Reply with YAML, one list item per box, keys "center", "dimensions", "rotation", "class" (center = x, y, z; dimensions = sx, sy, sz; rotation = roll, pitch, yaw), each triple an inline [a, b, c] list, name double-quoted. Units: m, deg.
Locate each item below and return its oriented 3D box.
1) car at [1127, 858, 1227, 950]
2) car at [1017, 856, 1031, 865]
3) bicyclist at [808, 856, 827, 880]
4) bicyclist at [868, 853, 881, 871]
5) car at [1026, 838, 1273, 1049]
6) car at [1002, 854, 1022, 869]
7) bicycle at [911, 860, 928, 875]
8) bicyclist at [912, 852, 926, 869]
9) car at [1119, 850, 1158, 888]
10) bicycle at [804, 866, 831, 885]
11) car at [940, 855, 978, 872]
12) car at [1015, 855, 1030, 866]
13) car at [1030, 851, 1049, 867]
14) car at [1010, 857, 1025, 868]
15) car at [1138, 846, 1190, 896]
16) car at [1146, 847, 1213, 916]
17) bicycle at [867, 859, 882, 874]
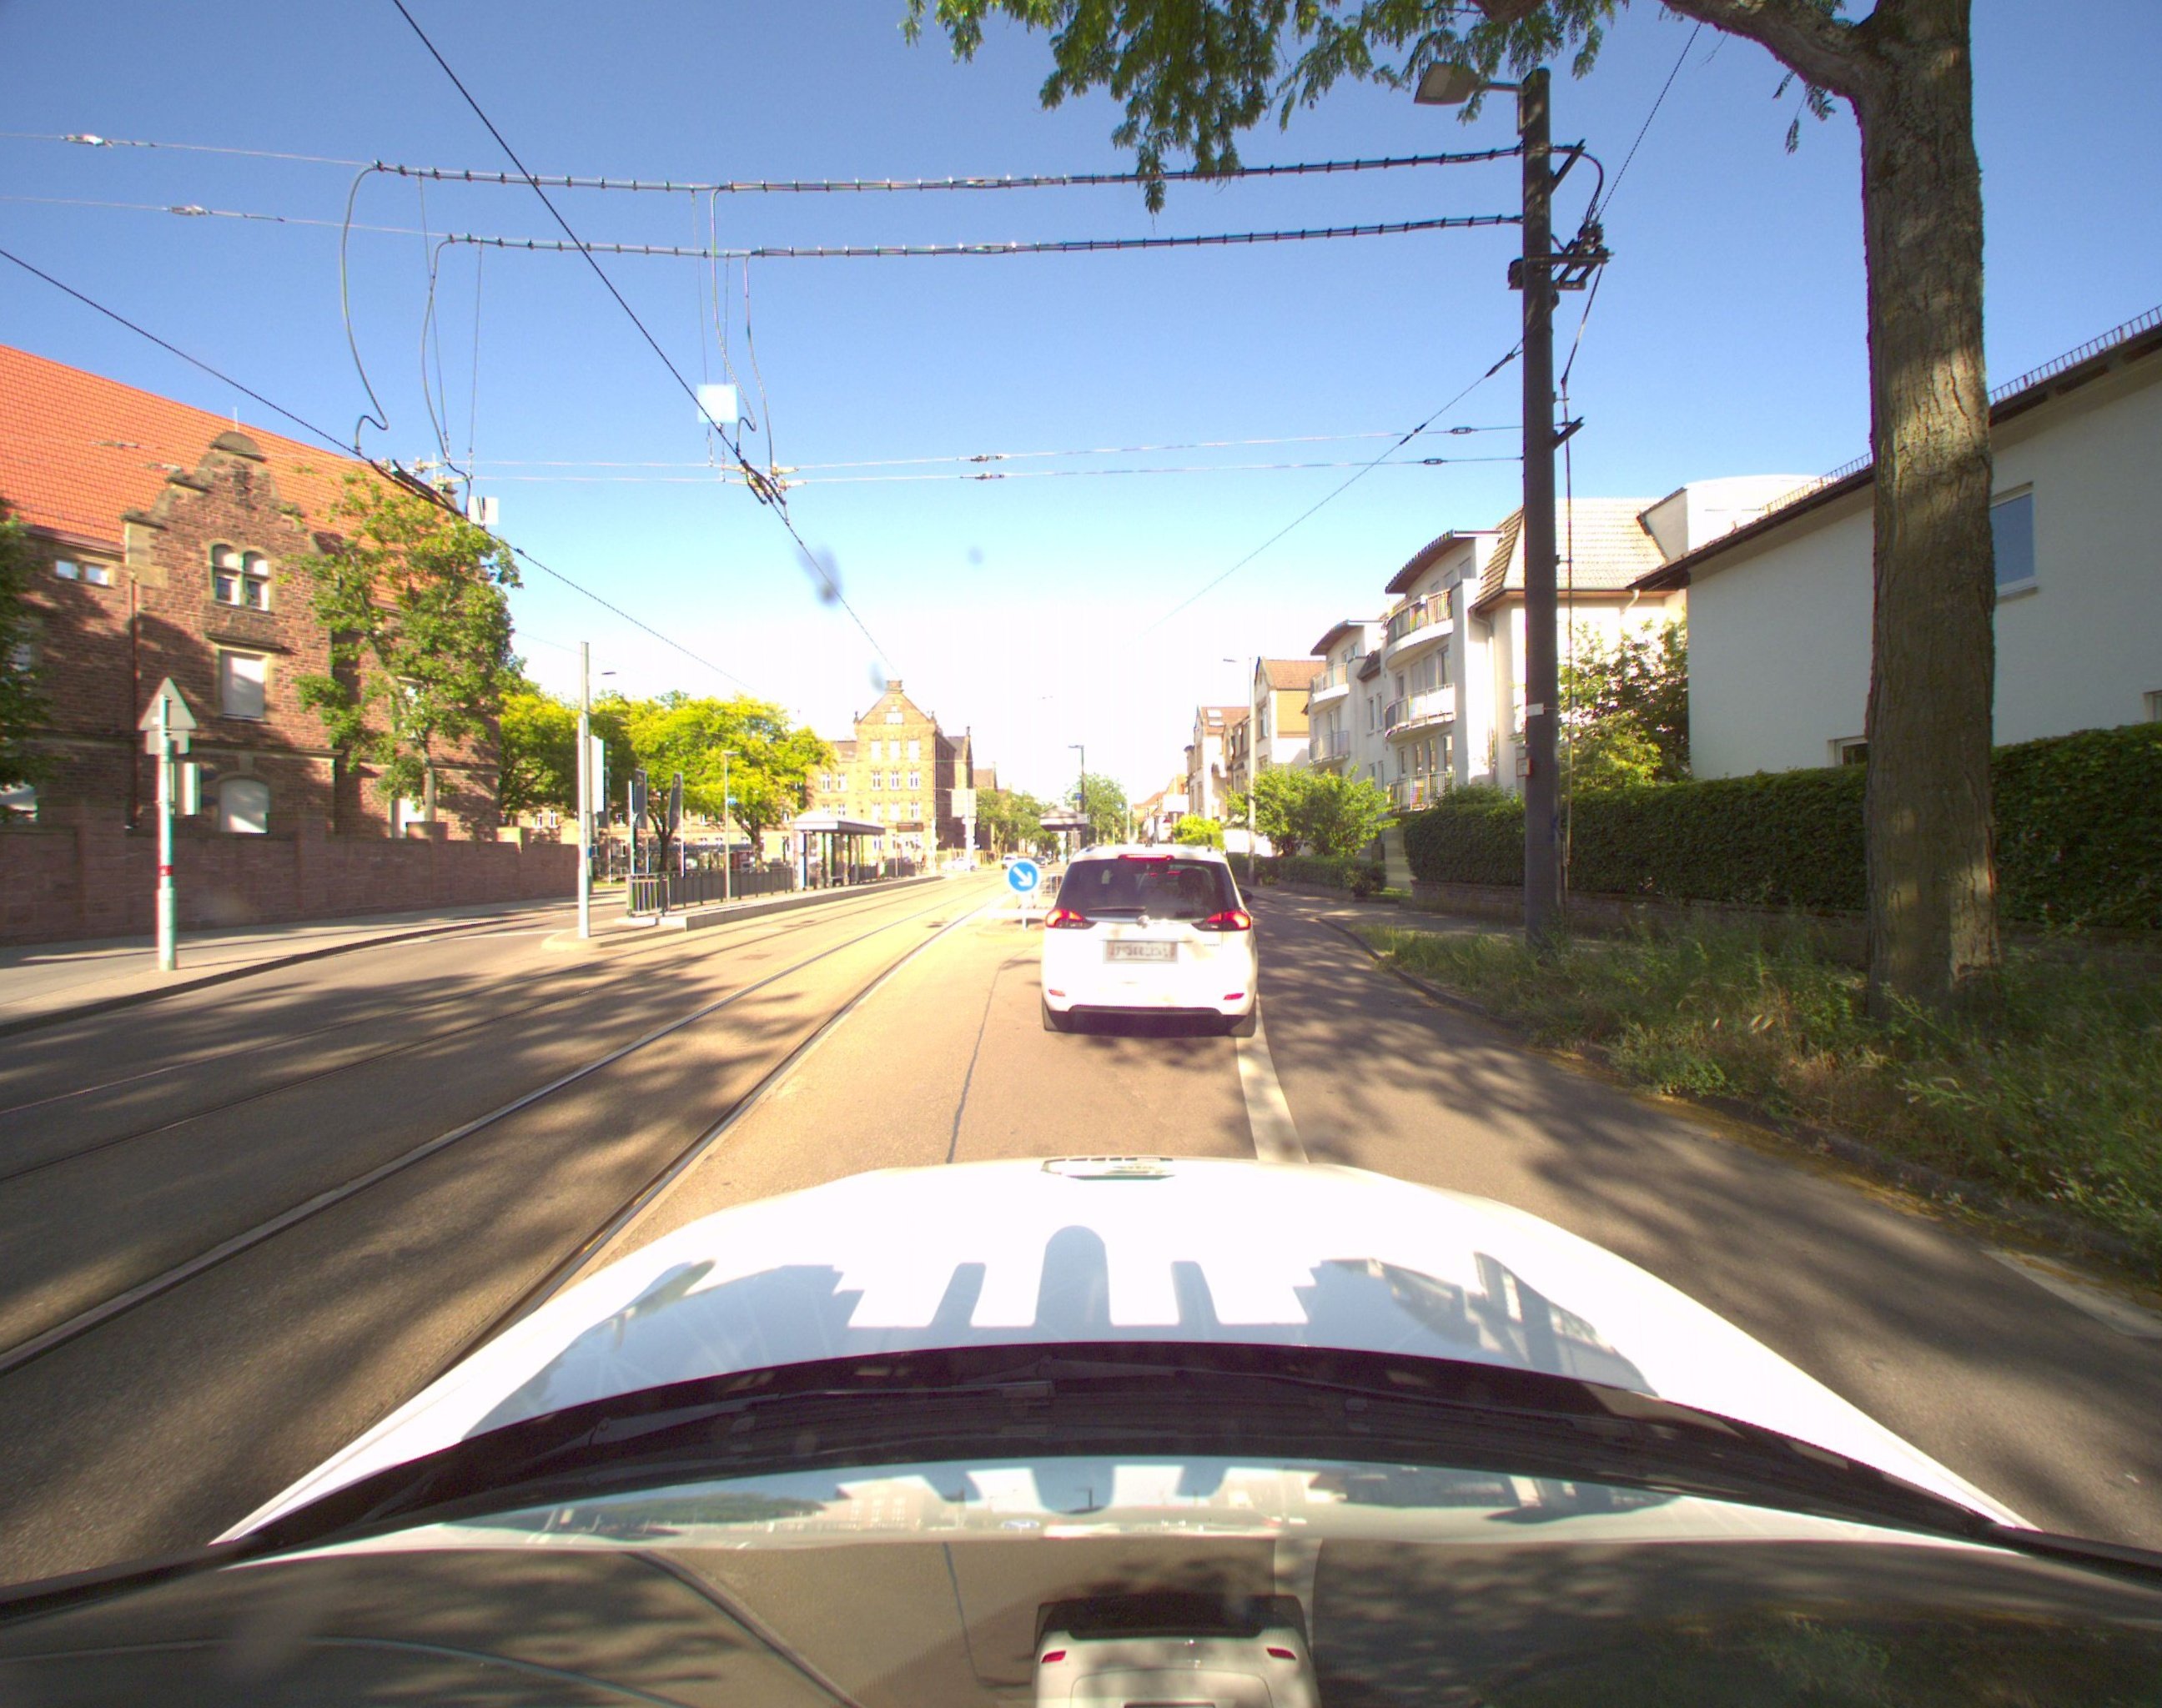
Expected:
- center: [1.774, 0.801, 14.868]
  dimensions: [1.560, 1.401, 3.792]
  rotation: [1, 0, 7]
  class: "car"
- center: [-8.871, 1.057, 127.396]
  dimensions: [1.821, 1.446, 4.325]
  rotation: [-1, -1, -1]
  class: "car"
- center: [-16.780, 0.877, 51.902]
  dimensions: [0.649, 1.459, 1.155]
  rotation: [-1, 0, 9]
  class: "bicyclist"
- center: [-16.964, 0.631, 66.965]
  dimensions: [0.755, 1.470, 1.189]
  rotation: [-1, 0, -4]
  class: "bicyclist"
- center: [0.764, 0.672, 8.196]
  dimensions: [1.868, 1.585, 4.008]
  rotation: [0, 0, 7]
  class: "car"
- center: [-8.555, 0.918, 100.749]
  dimensions: [1.819, 1.788, 4.258]
  rotation: [-1, 0, 3]
  class: "car"
- center: [-14.698, 1.225, 74.230]
  dimensions: [0.772, 1.231, 2.095]
  rotation: [-1, 0, 12]
  class: "bicycle"
- center: [-14.724, 0.617, 74.147]
  dimensions: [0.755, 1.536, 1.352]
  rotation: [-2, -1, 12]
  class: "bicyclist"
- center: [2.589, 0.638, 37.403]
  dimensions: [1.590, 1.635, 3.903]
  rotation: [1, 0, 2]
  class: "car"
- center: [-16.776, 1.359, 51.896]
  dimensions: [0.680, 1.089, 2.069]
  rotation: [-1, 0, 10]
  class: "bicycle"
- center: [-14.135, 1.080, 94.138]
  dimensions: [4.013, 1.809, 1.687]
  rotation: [-1, 0, -32]
  class: "car"
- center: [-8.591, 1.007, 119.697]
  dimensions: [1.821, 1.617, 4.325]
  rotation: [-1, -1, -1]
  class: "car"
- center: [-5.113, 0.607, 100.926]
  dimensions: [1.986, 2.013, 4.001]
  rotation: [-1, 0, 1]
  class: "car"
- center: [-8.599, 1.190, 110.482]
  dimensions: [1.792, 1.382, 4.494]
  rotation: [-1, 0, -1]
  class: "car"
- center: [2.915, 0.574, 29.240]
  dimensions: [1.590, 1.635, 3.903]
  rotation: [1, 0, 2]
  class: "car"
- center: [2.562, 0.641, 21.106]
  dimensions: [1.560, 1.614, 3.792]
  rotation: [1, 0, 7]
  class: "car"
- center: [-16.956, 1.036, 67.017]
  dimensions: [0.813, 1.198, 1.950]
  rotation: [-1, 0, -4]
  class: "bicycle"
